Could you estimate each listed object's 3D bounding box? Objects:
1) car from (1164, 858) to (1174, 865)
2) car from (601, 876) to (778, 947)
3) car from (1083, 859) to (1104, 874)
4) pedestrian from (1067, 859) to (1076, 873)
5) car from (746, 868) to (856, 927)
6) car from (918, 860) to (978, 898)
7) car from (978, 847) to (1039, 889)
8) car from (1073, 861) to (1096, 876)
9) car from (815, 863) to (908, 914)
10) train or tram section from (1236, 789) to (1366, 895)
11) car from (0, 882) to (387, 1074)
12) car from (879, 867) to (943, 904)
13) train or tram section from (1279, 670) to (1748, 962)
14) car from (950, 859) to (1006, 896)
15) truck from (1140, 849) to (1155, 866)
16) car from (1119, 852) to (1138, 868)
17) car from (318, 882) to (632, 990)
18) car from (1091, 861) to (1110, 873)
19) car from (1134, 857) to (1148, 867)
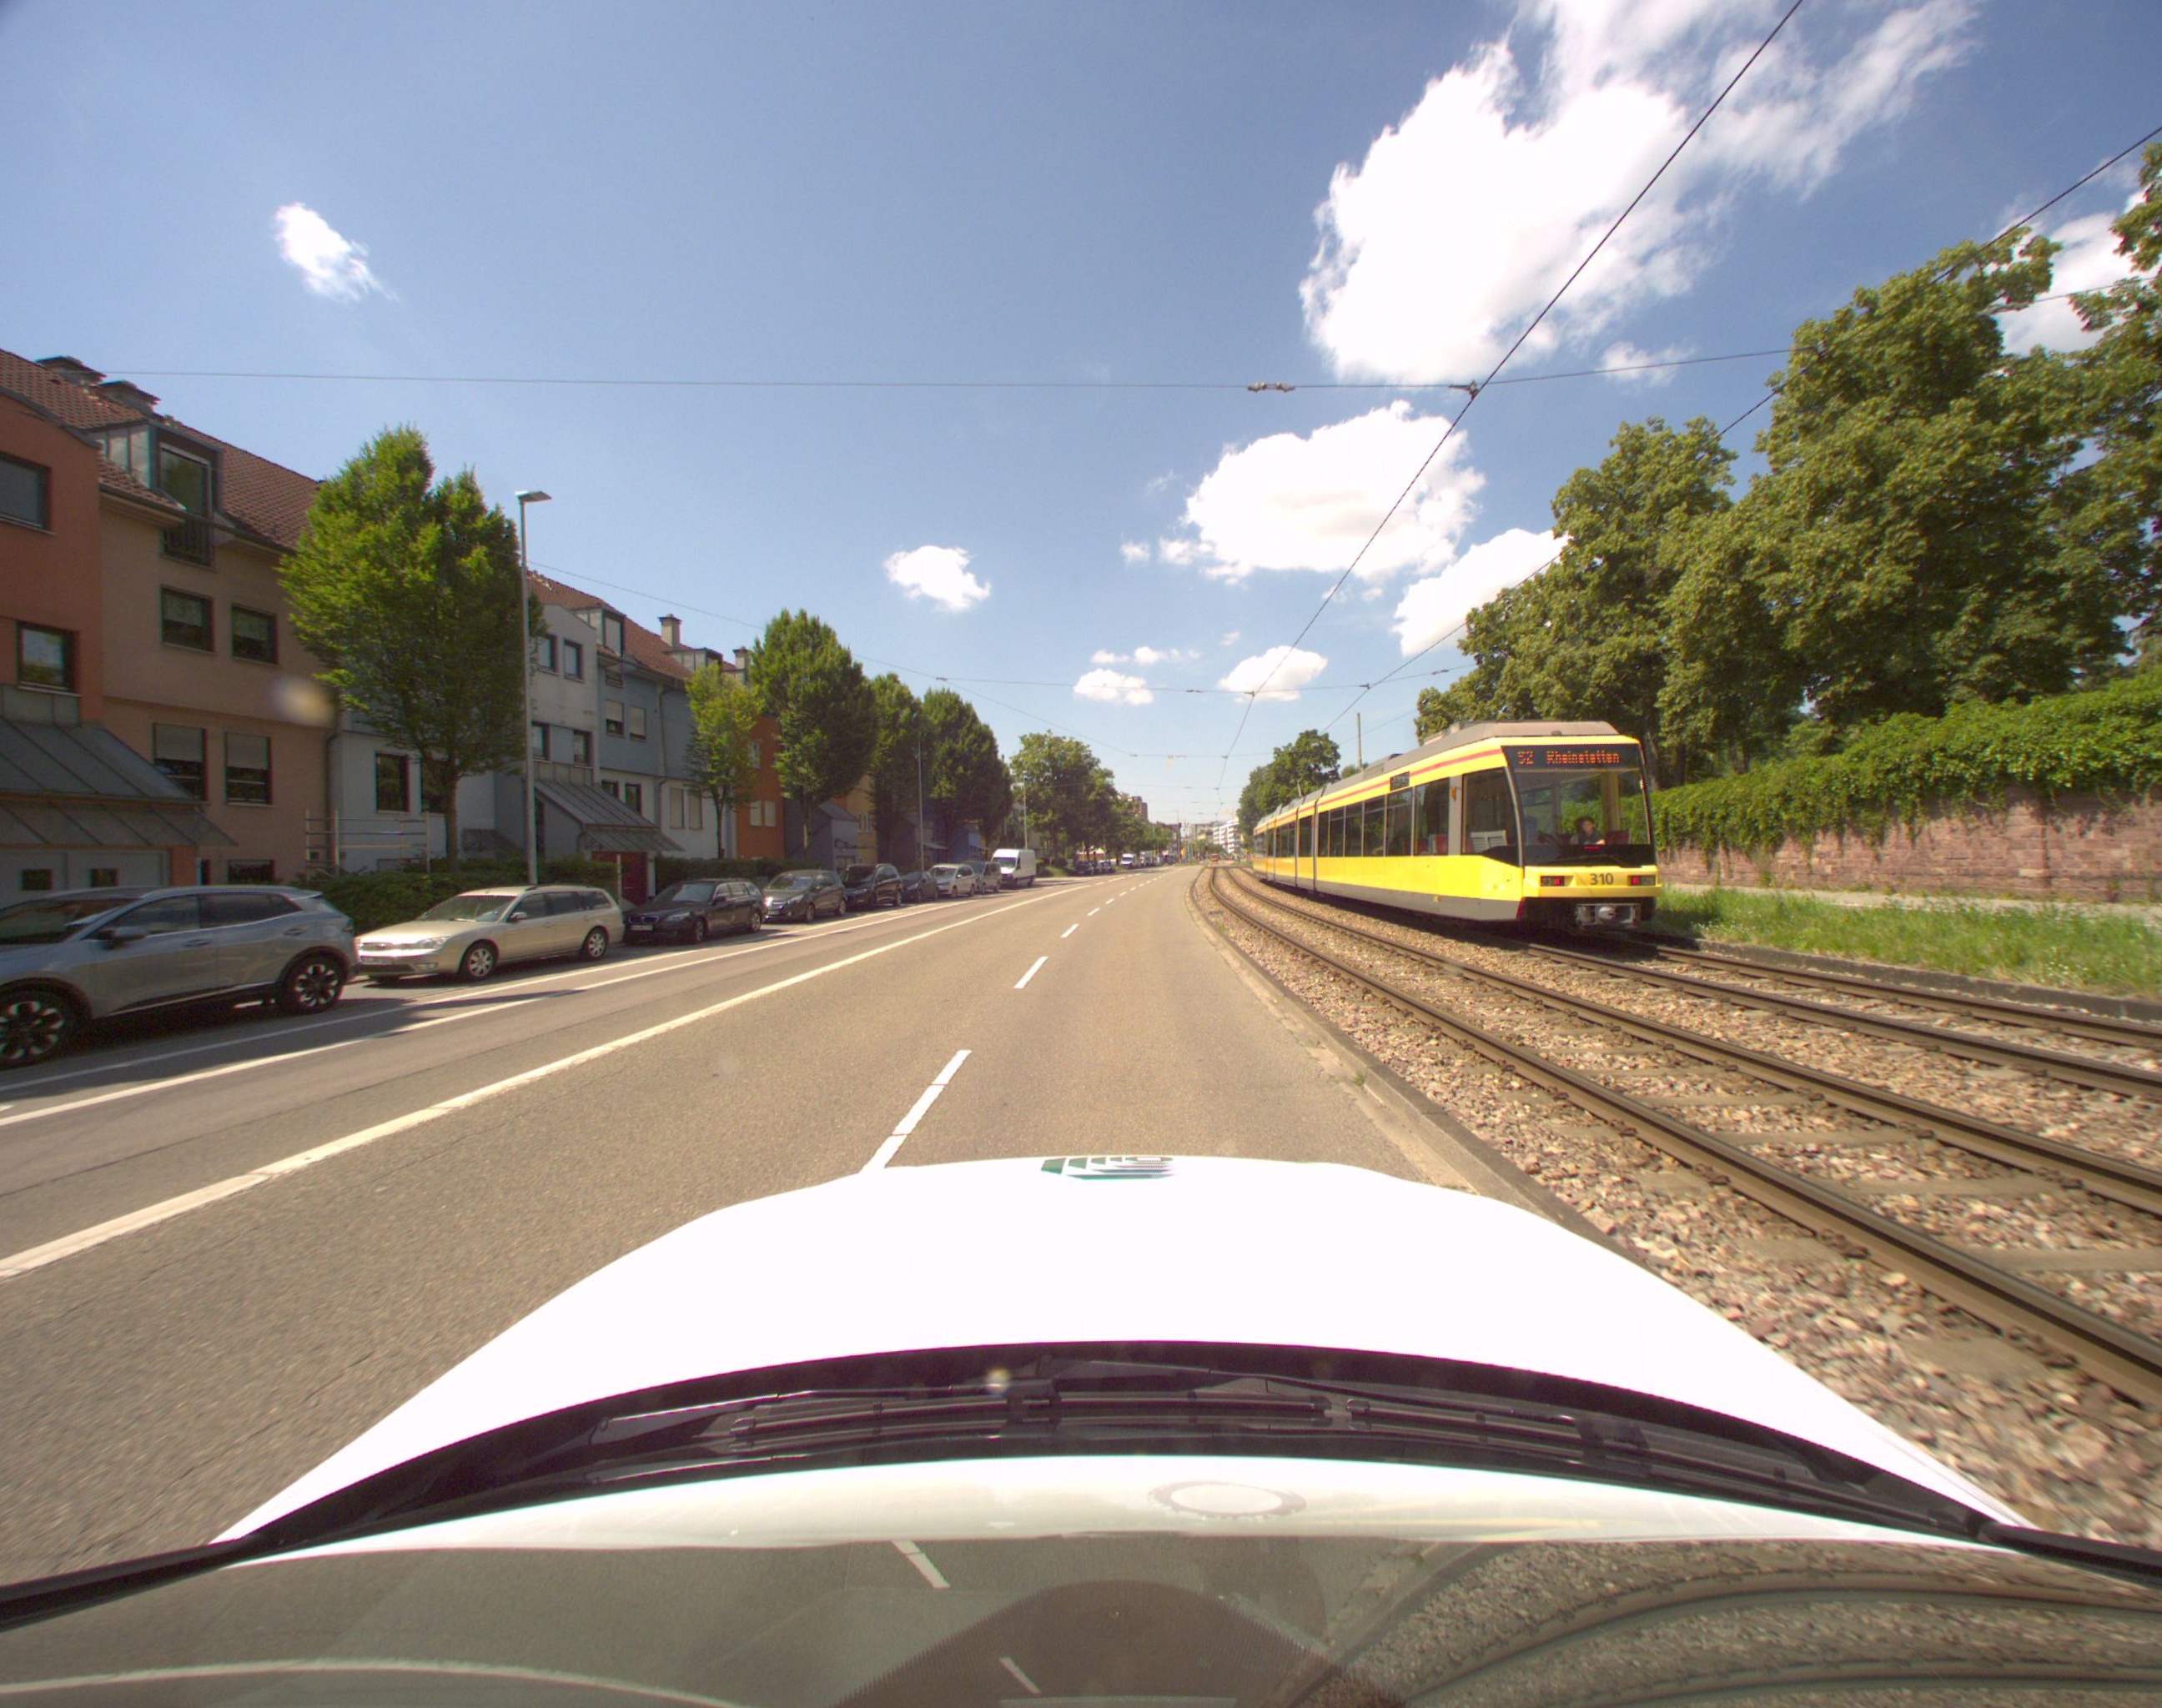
[{"bbox_3d":[19.106,1.595,176.530,1.765,1.460,4.204,-3,-1,8],"label":"car"},{"bbox_3d":[-9.673,1.352,20.667,1.733,1.446,4.971,0,0,5],"label":"car"},{"bbox_3d":[1.478,1.413,94.441,1.765,1.604,4.648,-1,0,8],"label":"car"},{"bbox_3d":[-1.259,1.548,109.269,0.969,1.823,0.796,-2,-1,6],"label":"pedestrian"},{"bbox_3d":[-8.990,1.349,26.538,1.647,1.617,4.293,-2,0,6],"label":"car"},{"bbox_3d":[-6.834,1.266,42.321,1.708,1.752,4.913,-2,0,6],"label":"car"},{"bbox_3d":[-4.879,0.895,56.364,2.309,2.651,7.055,2,0,10],"label":"car"},{"bbox_3d":[0.357,1.507,86.571,1.765,1.456,4.815,-2,-1,8],"label":"car"},{"bbox_3d":[-8.425,1.267,31.709,1.742,1.716,4.896,-2,0,6],"label":"car"},{"bbox_3d":[9.684,-0.401,38.834,2.928,3.692,20.320,-1,0,7],"label":"train or tram section"},{"bbox_3d":[-10.565,1.197,8.932,1.648,1.609,4.692,0,0,4],"label":"car"},{"bbox_3d":[-7.730,1.398,37.378,1.590,1.471,4.095,-2,0,6],"label":"car"},{"bbox_3d":[7.757,-0.447,19.642,2.930,3.692,18.412,-1,0,5],"label":"train or tram section"},{"bbox_3d":[-5.974,1.327,47.966,1.796,1.895,5.375,-2,0,9],"label":"car"},{"bbox_3d":[13.251,0.740,161.511,2.142,3.210,7.105,1,0,12],"label":"truck"},{"bbox_3d":[7.786,0.985,133.764,2.142,2.487,6.213,1,0,12],"label":"car"},{"bbox_3d":[-10.359,1.297,14.543,1.648,1.508,4.902,-2,-1,5],"label":"car"},{"bbox_3d":[2.437,1.582,99.500,1.765,1.373,4.707,0,0,8],"label":"car"},{"bbox_3d":[11.373,1.480,152.884,2.048,1.898,4.885,-2,-1,10],"label":"car"}]
